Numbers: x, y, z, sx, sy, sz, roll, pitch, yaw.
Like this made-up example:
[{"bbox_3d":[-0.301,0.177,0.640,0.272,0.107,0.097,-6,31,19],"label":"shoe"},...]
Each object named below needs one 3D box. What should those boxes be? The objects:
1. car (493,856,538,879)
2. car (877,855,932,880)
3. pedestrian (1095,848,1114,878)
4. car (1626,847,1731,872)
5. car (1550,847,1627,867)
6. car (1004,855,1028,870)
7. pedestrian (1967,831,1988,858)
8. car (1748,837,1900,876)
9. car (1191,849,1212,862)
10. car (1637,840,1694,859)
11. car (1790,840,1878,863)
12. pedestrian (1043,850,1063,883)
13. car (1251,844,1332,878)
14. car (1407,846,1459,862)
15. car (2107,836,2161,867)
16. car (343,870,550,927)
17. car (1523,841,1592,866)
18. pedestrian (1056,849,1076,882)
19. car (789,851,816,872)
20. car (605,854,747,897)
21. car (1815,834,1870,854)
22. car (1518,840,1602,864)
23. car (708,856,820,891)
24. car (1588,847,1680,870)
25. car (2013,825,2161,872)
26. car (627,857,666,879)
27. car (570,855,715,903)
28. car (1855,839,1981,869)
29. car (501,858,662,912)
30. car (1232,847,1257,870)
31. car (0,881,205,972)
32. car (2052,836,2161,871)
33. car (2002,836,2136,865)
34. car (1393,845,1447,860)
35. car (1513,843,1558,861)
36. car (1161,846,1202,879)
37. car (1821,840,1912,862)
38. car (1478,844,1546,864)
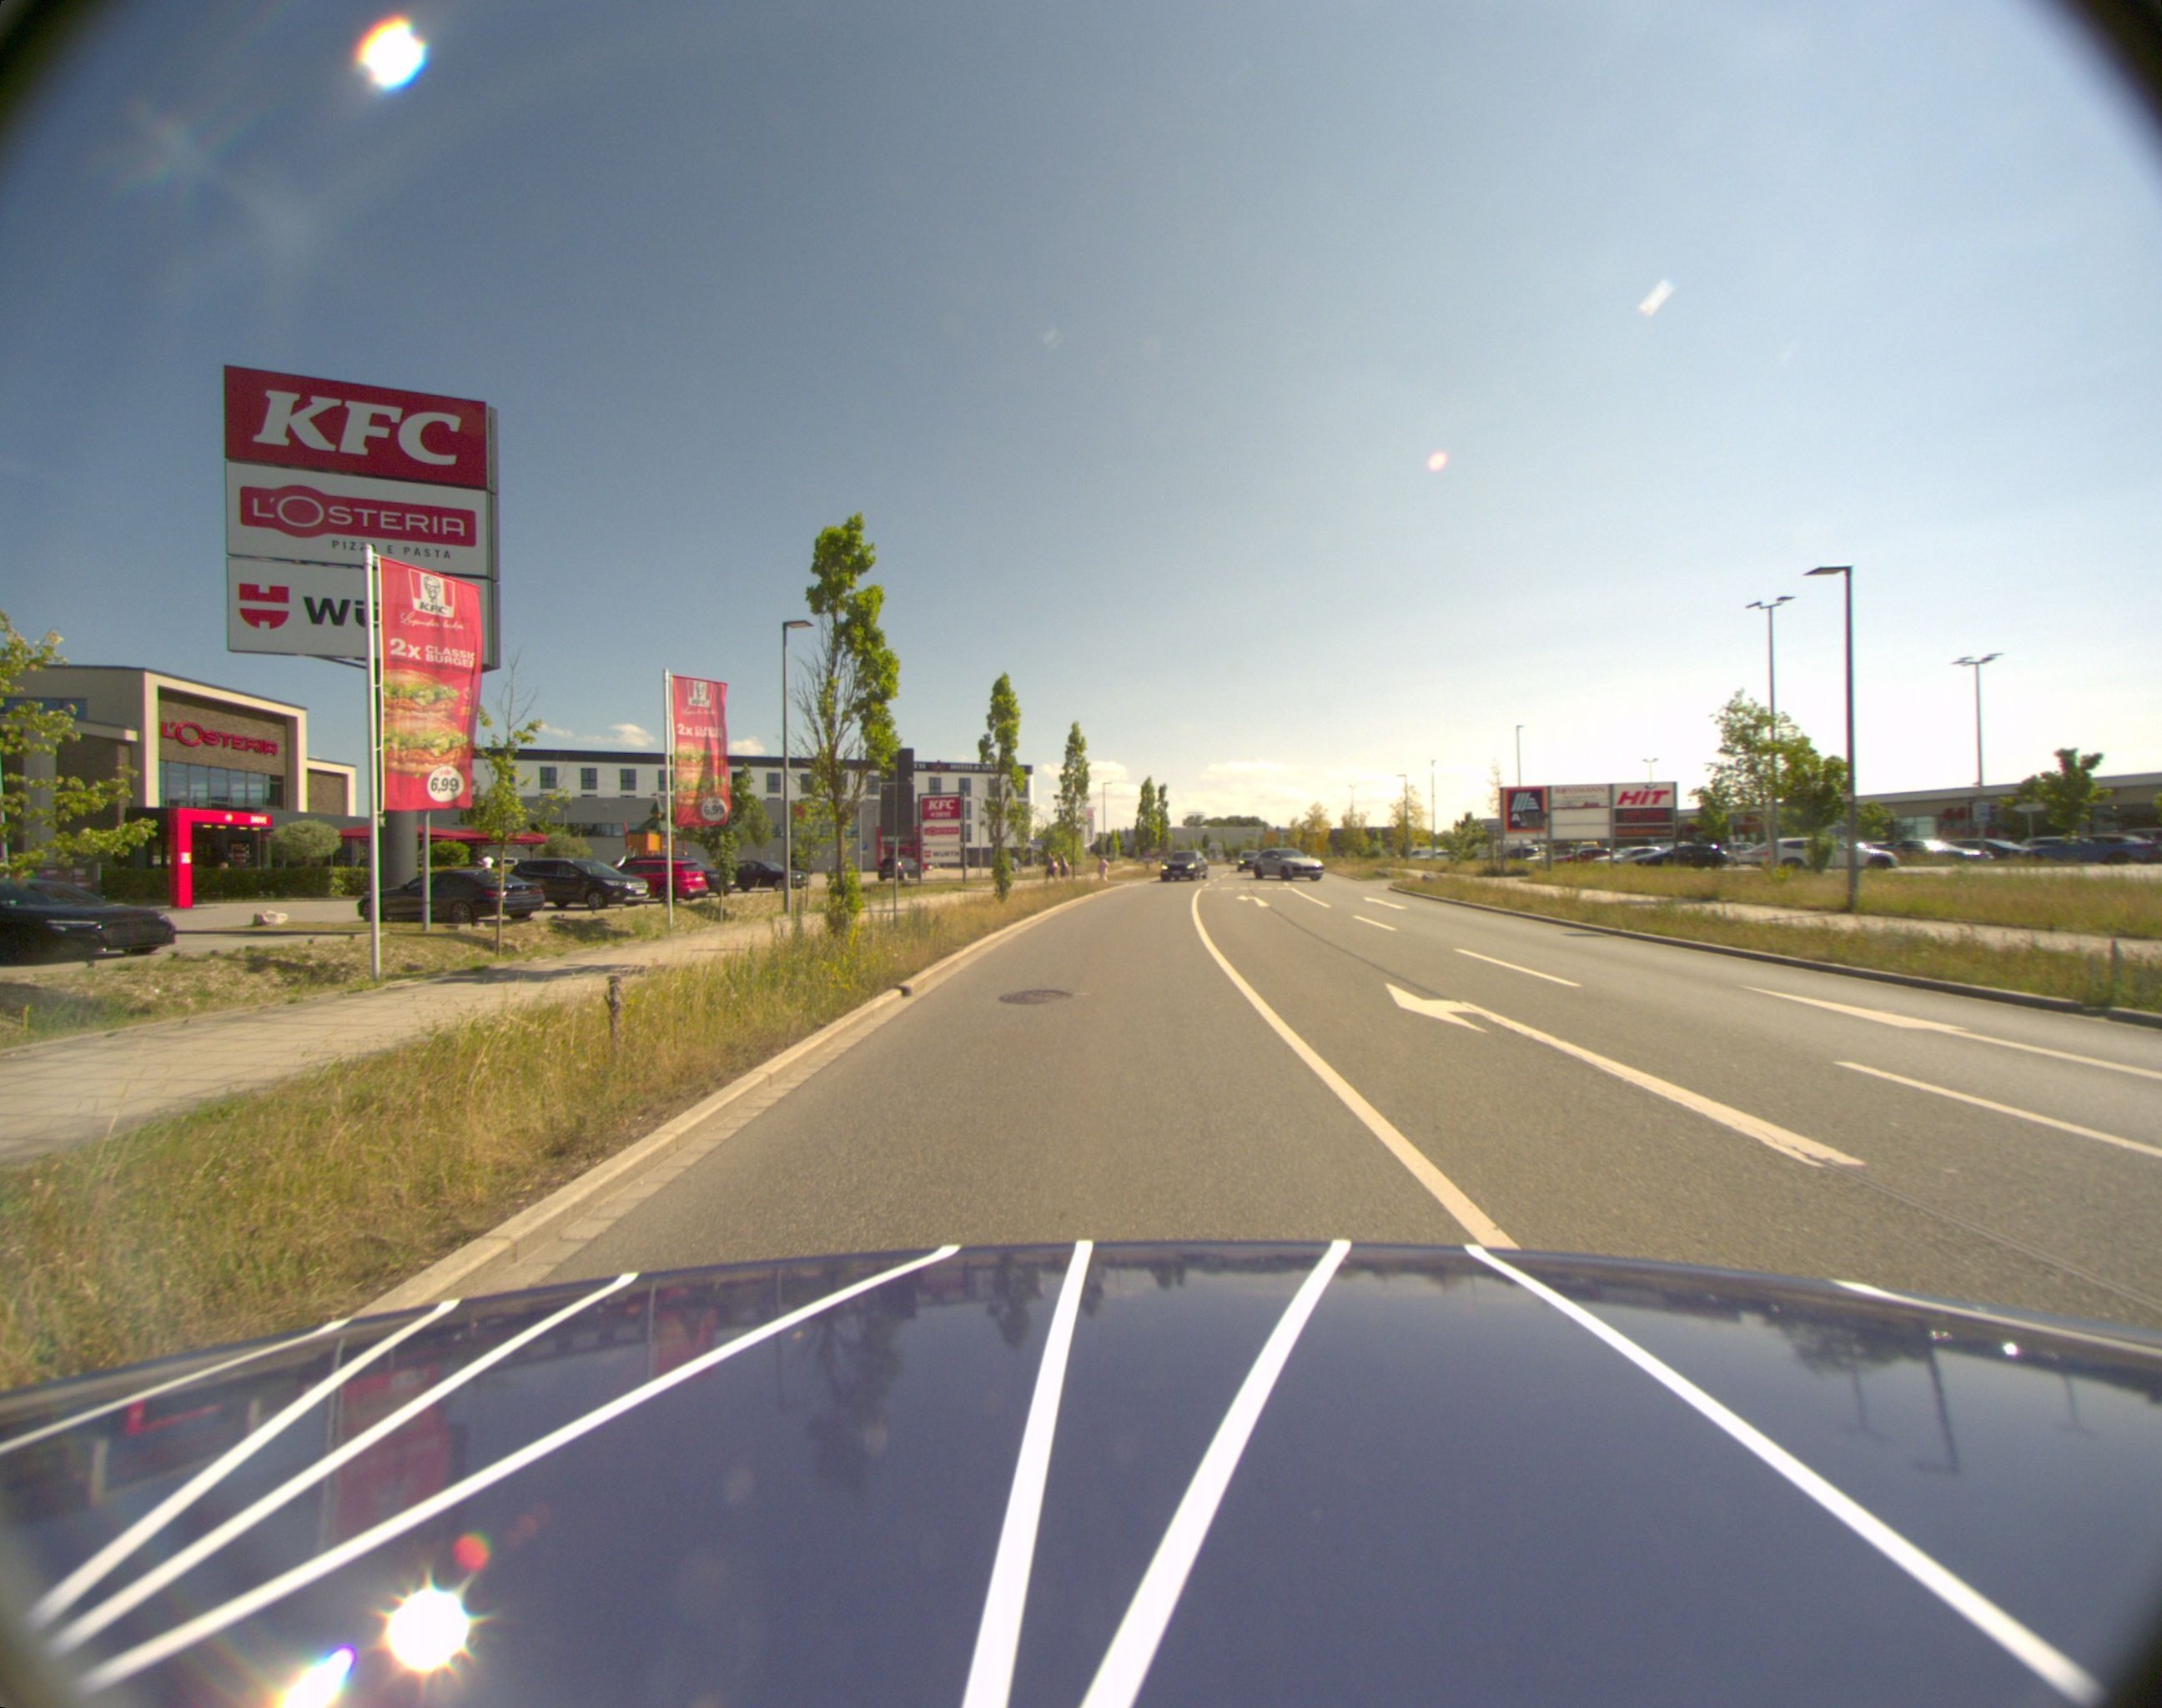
[{"bbox_3d":[-44.855,1.009,60.325,1.703,1.747,4.102,-1,0,-20],"label":"car"},{"bbox_3d":[-11.209,0.826,48.463,1.783,1.531,4.173,-1,0,12],"label":"car"},{"bbox_3d":[1.174,0.443,37.865,0.794,1.461,0.950,-1,1,11],"label":"pedestrian"},{"bbox_3d":[33.093,0.313,42.169,4.151,1.340,1.938,-1,0,11],"label":"car"},{"bbox_3d":[36.343,0.216,54.527,4.151,1.340,1.938,-1,0,11],"label":"car"},{"bbox_3d":[-6.188,0.820,72.576,1.516,1.399,4.002,-1,0,5],"label":"car"},{"bbox_3d":[61.632,-0.666,52.235,0.570,1.813,0.780,-1,1,-8],"label":"pedestrian"},{"bbox_3d":[31.402,0.114,32.276,4.217,1.538,1.920,-1,0,18],"label":"car"},{"bbox_3d":[14.685,0.167,92.564,1.907,1.502,3.999,-1,0,0],"label":"car"},{"bbox_3d":[56.389,-0.411,73.401,1.717,1.731,4.581,-1,0,-7],"label":"car"},{"bbox_3d":[54.099,-0.170,54.714,1.717,1.562,4.351,-1,0,-10],"label":"car"},{"bbox_3d":[-1.407,0.617,38.364,0.810,1.619,0.867,-1,1,11],"label":"pedestrian"},{"bbox_3d":[11.079,0.430,40.466,2.116,1.633,4.773,-1,-2,-13],"label":"car"},{"bbox_3d":[38.048,-0.037,82.209,4.600,1.662,2.000,-1,0,3],"label":"car"},{"bbox_3d":[53.857,-0.133,36.980,1.717,1.566,4.351,-1,0,-10],"label":"car"},{"bbox_3d":[-17.180,1.171,20.673,4.414,1.441,1.792,0,0,7],"label":"car"},{"bbox_3d":[37.143,-0.014,59.285,4.151,1.850,1.934,-1,0,9],"label":"car"},{"bbox_3d":[-0.760,0.560,37.898,0.802,1.620,0.805,-1,1,11],"label":"pedestrian"},{"bbox_3d":[-24.285,0.644,66.323,2.050,1.805,4.916,-1,0,-18],"label":"car"},{"bbox_3d":[-16.845,0.875,31.698,4.992,1.724,1.940,0,0,6],"label":"car"},{"bbox_3d":[71.749,-0.922,71.591,4.357,1.797,1.715,-1,0,-14],"label":"car"},{"bbox_3d":[40.425,-0.173,64.215,5.694,1.953,2.000,-1,0,3],"label":"car"},{"bbox_3d":[-14.728,0.882,35.444,4.415,1.557,1.996,0,0,6],"label":"car"},{"bbox_3d":[34.202,0.279,47.112,4.151,1.340,1.938,-1,0,11],"label":"car"},{"bbox_3d":[46.231,-0.240,34.419,1.717,1.974,4.830,-1,0,-10],"label":"car"},{"bbox_3d":[-30.371,0.968,53.178,1.703,1.463,4.225,-1,0,-21],"label":"car"},{"bbox_3d":[-16.342,0.910,28.450,4.416,1.724,1.791,0,0,3],"label":"car"},{"bbox_3d":[45.119,-0.005,41.115,1.717,1.507,4.351,-1,0,-10],"label":"car"},{"bbox_3d":[-16.691,1.012,25.493,4.414,1.724,1.792,0,0,8],"label":"car"},{"bbox_3d":[12.444,0.344,57.803,1.755,1.678,4.385,-1,0,13],"label":"car"},{"bbox_3d":[-18.580,1.222,13.371,4.165,1.441,1.791,0,0,-1],"label":"car"},{"bbox_3d":[48.836,-0.021,35.251,1.717,1.572,4.351,-1,0,-10],"label":"car"},{"bbox_3d":[55.767,-0.173,43.015,1.717,1.535,4.351,-1,0,-10],"label":"car"},{"bbox_3d":[38.722,-0.200,86.854,5.194,1.662,2.000,-1,0,-2],"label":"car"},{"bbox_3d":[64.482,-0.284,107.824,5.720,2.572,1.938,-1,0,-11],"label":"car"},{"bbox_3d":[5.669,0.516,42.341,1.899,1.669,4.472,-2,-2,12],"label":"car"},{"bbox_3d":[56.805,-0.197,55.065,1.717,1.523,4.351,-1,0,-10],"label":"car"},{"bbox_3d":[37.732,0.004,66.596,4.778,1.662,1.883,-1,0,5],"label":"car"}]
